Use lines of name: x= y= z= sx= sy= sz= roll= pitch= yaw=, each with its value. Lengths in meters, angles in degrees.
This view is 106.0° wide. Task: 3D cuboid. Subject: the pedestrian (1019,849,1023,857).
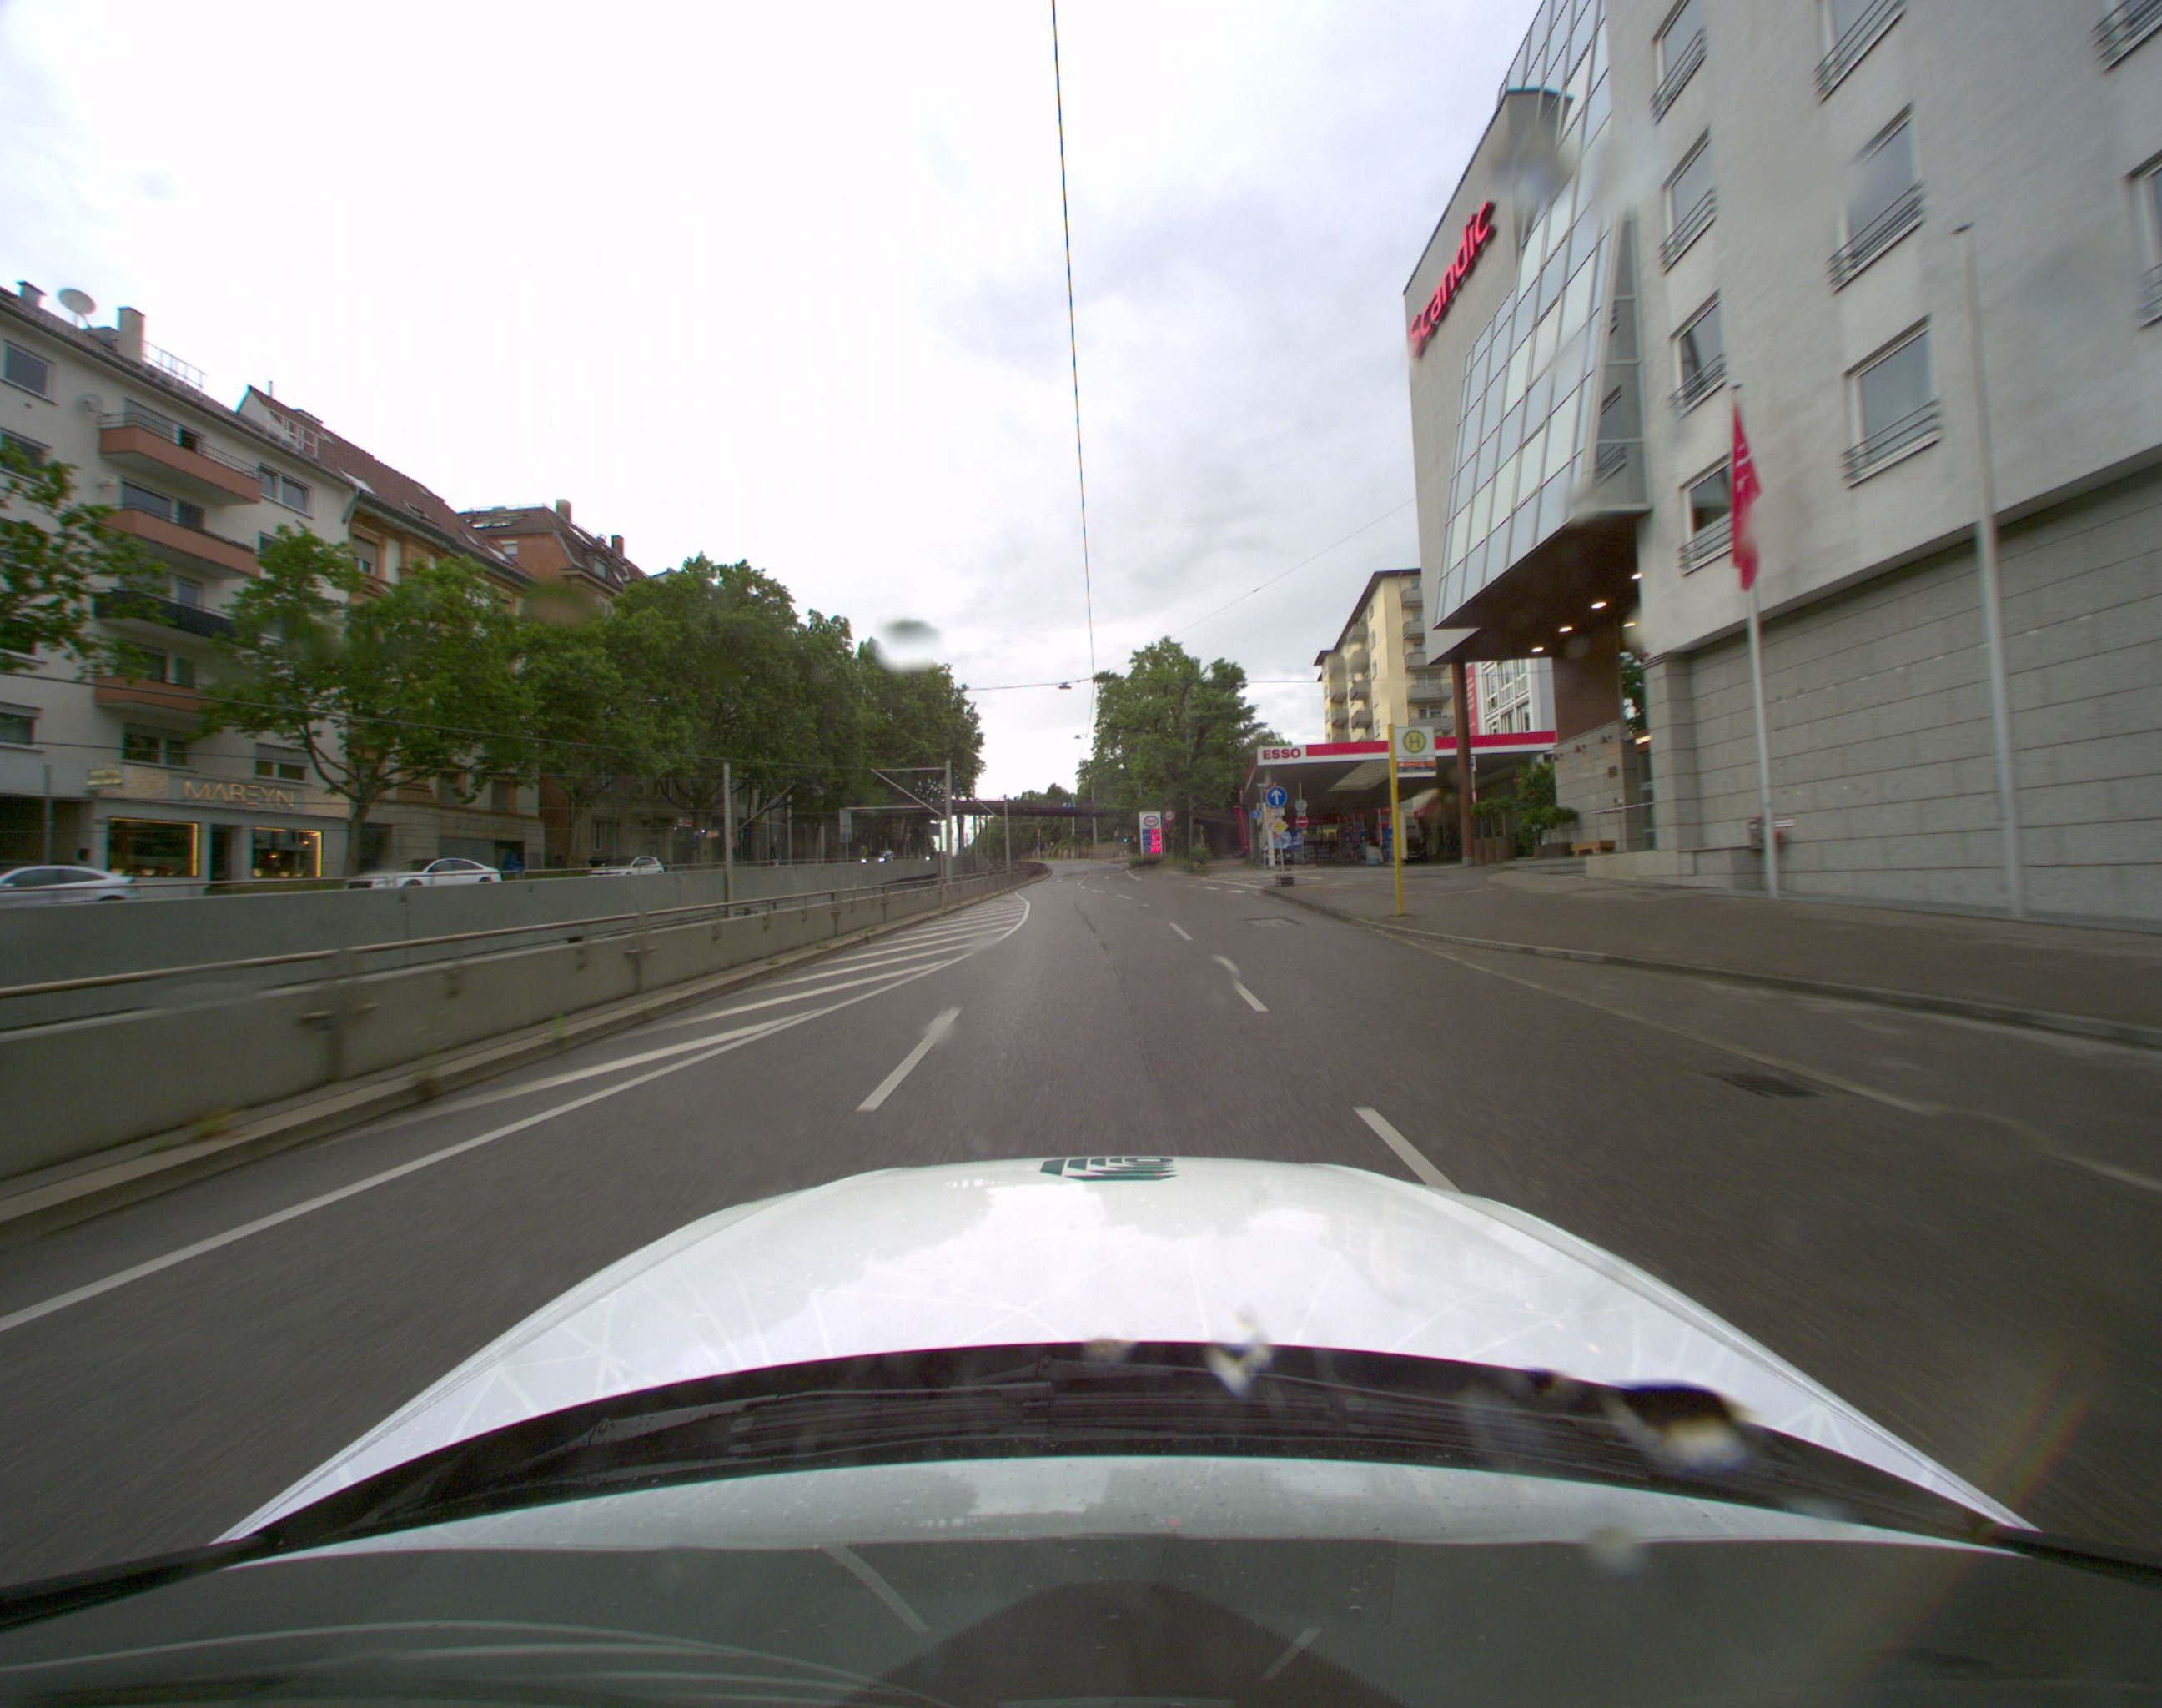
pedestrian: x=-14.174 y=-0.253 z=191.668 sx=0.720 sy=1.687 sz=0.726 roll=-1 pitch=-1 yaw=-11

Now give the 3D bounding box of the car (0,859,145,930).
car: x=-24.267 y=0.901 z=18.151 sx=1.786 sy=1.510 sz=4.212 roll=0 pitch=0 yaw=4

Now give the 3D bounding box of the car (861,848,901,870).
car: x=-17.136 y=0.416 z=70.001 sx=1.947 sy=1.852 sz=4.973 roll=0 pitch=0 yaw=4

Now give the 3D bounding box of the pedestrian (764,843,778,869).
pedestrian: x=-23.762 y=0.173 z=62.497 sx=0.666 sy=2.014 sz=0.936 roll=0 pitch=-1 yaw=5

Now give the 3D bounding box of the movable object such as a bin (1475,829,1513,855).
movable object such as a bin: x=24.036 y=-0.692 z=47.462 sx=1.156 sy=1.425 sz=2.514 roll=-2 pitch=0 yaw=8

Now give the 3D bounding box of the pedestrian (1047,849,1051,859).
pedestrian: x=-6.252 y=-0.054 z=157.887 sx=0.720 sy=1.850 sz=0.780 roll=-1 pitch=-1 yaw=-11

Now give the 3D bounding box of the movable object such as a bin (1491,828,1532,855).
movable object such as a bin: x=23.616 y=-0.684 z=44.738 sx=1.156 sy=1.425 sz=2.514 roll=-2 pitch=0 yaw=8

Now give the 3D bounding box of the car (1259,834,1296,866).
car: x=11.147 y=-0.214 z=46.378 sx=1.761 sy=1.623 sz=3.878 roll=-4 pitch=-1 yaw=11

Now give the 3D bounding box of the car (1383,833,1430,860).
car: x=19.428 y=-0.396 z=48.758 sx=1.784 sy=1.510 sz=4.009 roll=0 pitch=-1 yaw=8

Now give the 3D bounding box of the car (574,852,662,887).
car: x=-22.614 y=0.732 z=39.971 sx=1.787 sy=1.611 sz=4.115 roll=0 pitch=0 yaw=2

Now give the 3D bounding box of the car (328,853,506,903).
car: x=-23.448 y=0.792 z=29.104 sx=1.919 sy=1.601 sz=5.203 roll=0 pitch=0 yaw=3
